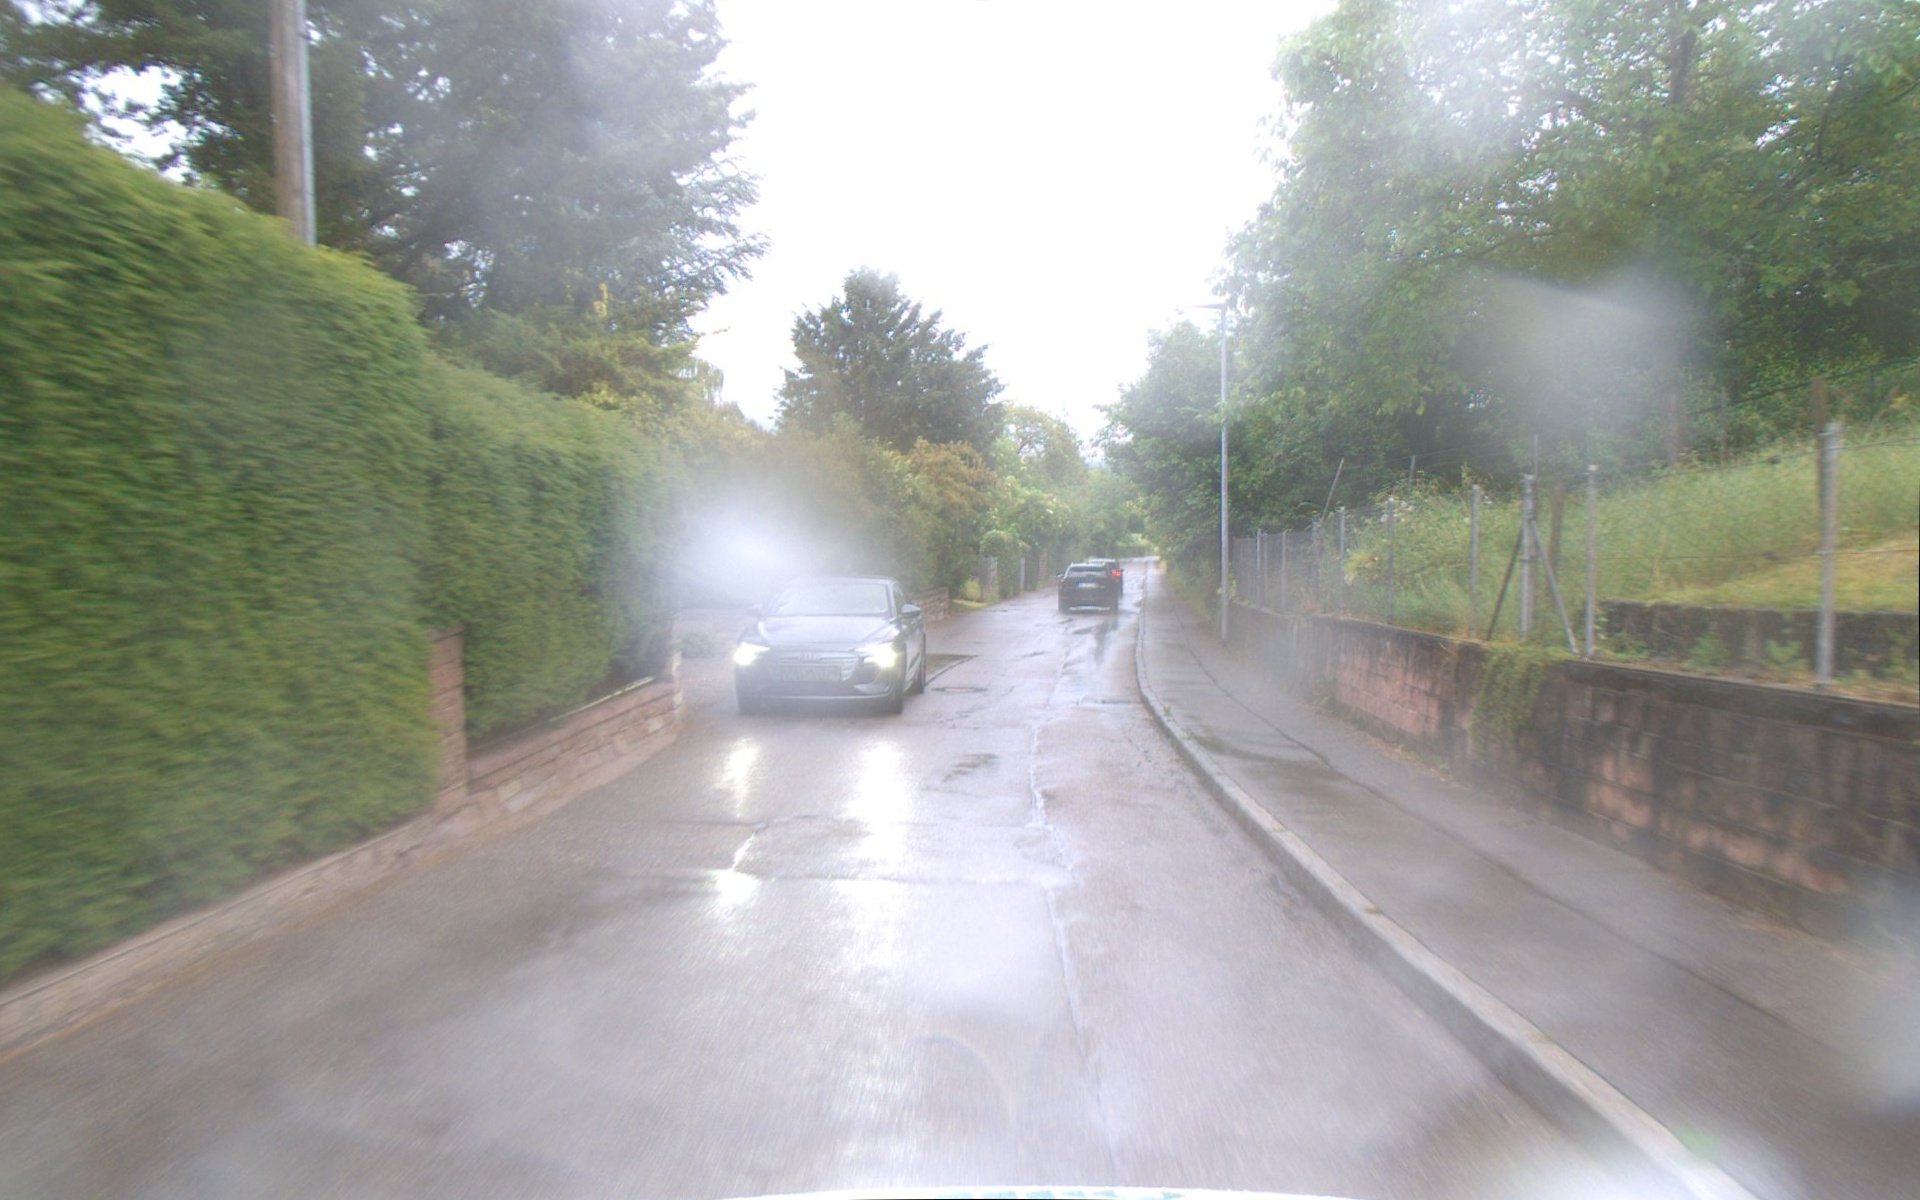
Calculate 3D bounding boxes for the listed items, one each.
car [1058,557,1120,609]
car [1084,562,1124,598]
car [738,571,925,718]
[{"bbox_3d":[3.884,-0.498,49.247,1.600,1.475,3.547,1,0,8],"label":"car"},{"bbox_3d":[6.010,-0.821,68.860,1.600,1.438,3.547,1,0,6],"label":"car"},{"bbox_3d":[-1.419,0.441,19.882,1.850,1.550,4.422,1,1,0],"label":"car"}]
